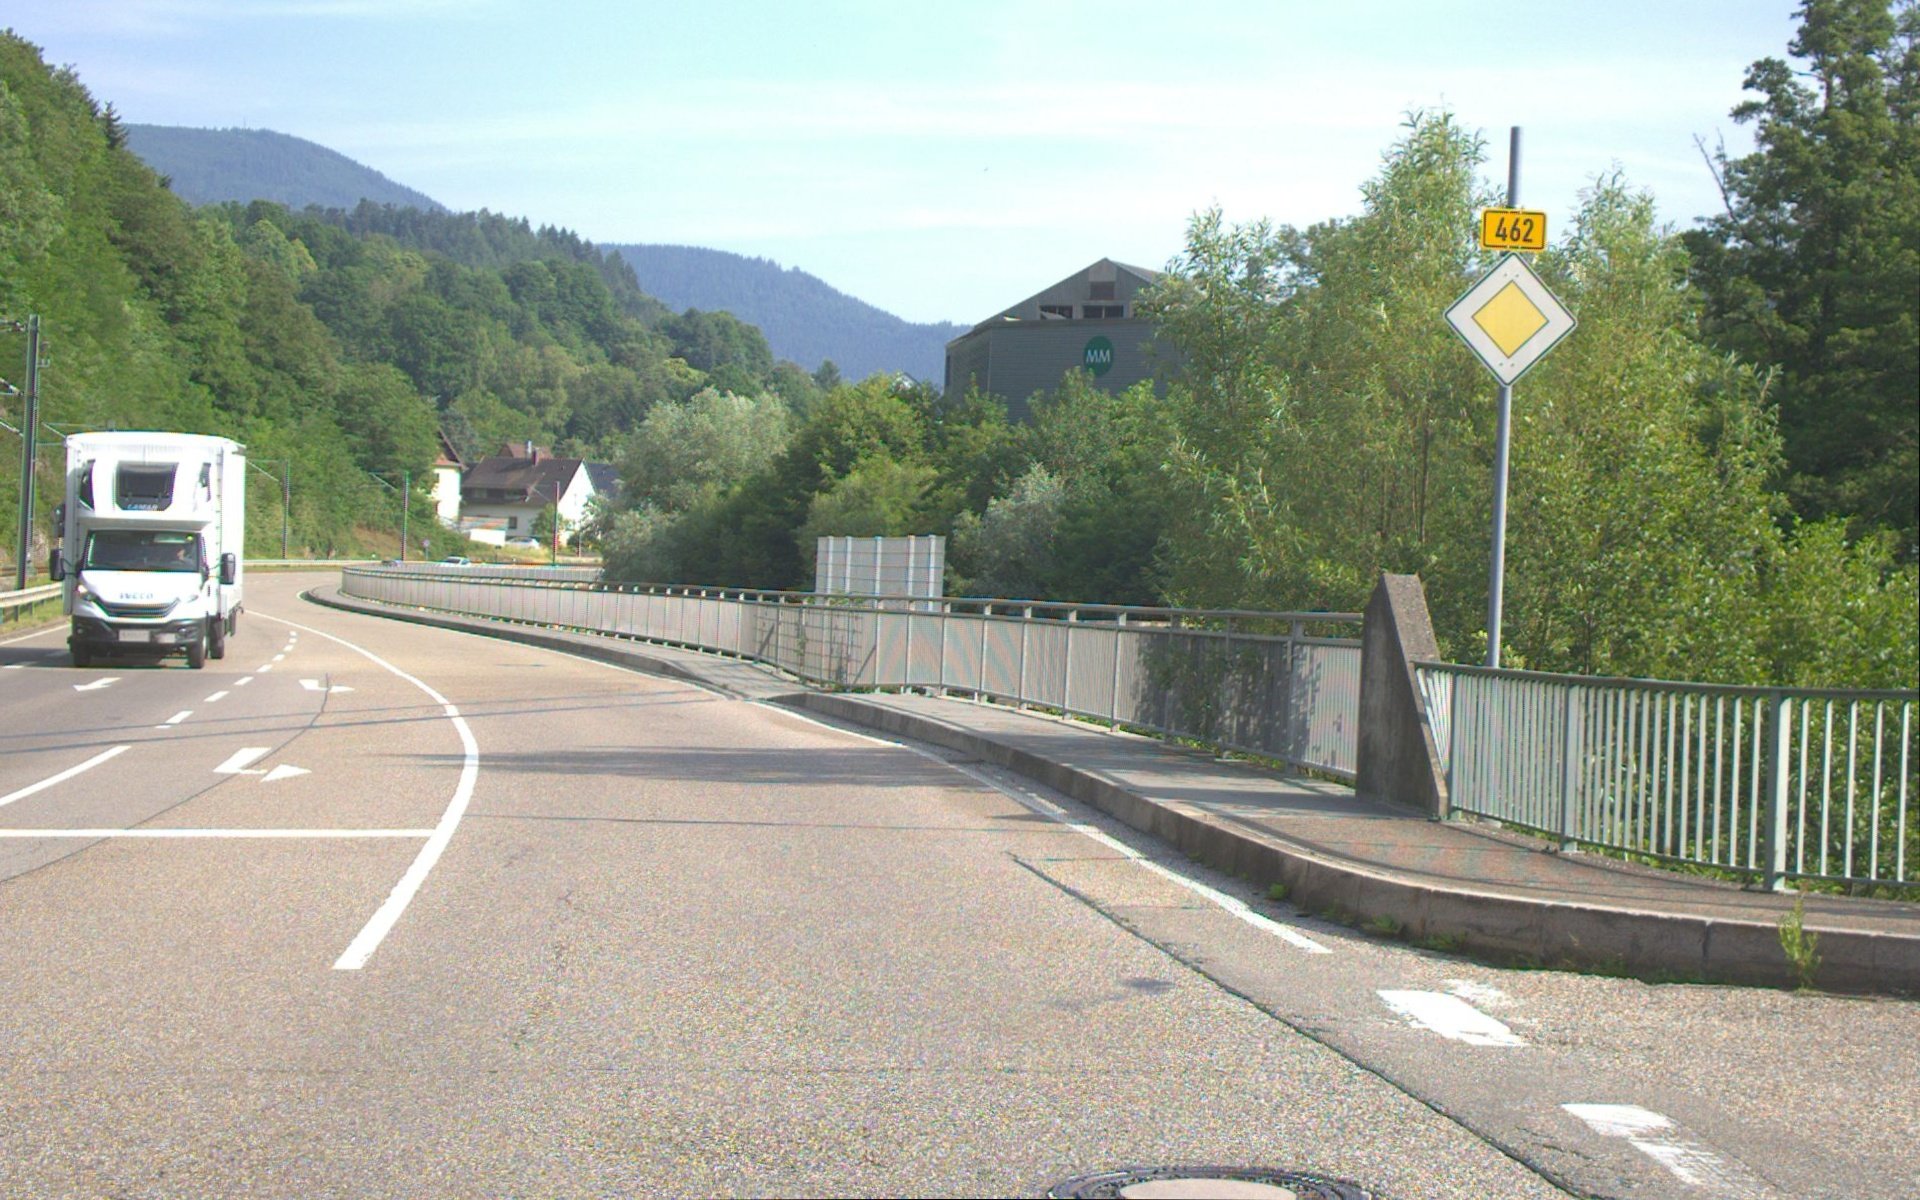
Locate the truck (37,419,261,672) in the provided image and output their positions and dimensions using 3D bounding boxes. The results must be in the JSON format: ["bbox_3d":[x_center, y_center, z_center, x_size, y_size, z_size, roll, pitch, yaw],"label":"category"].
[{"bbox_3d":[-13.146,-0.840,56.389,2.896,3.786,8.896,1,0,-9],"label":"truck"}]
